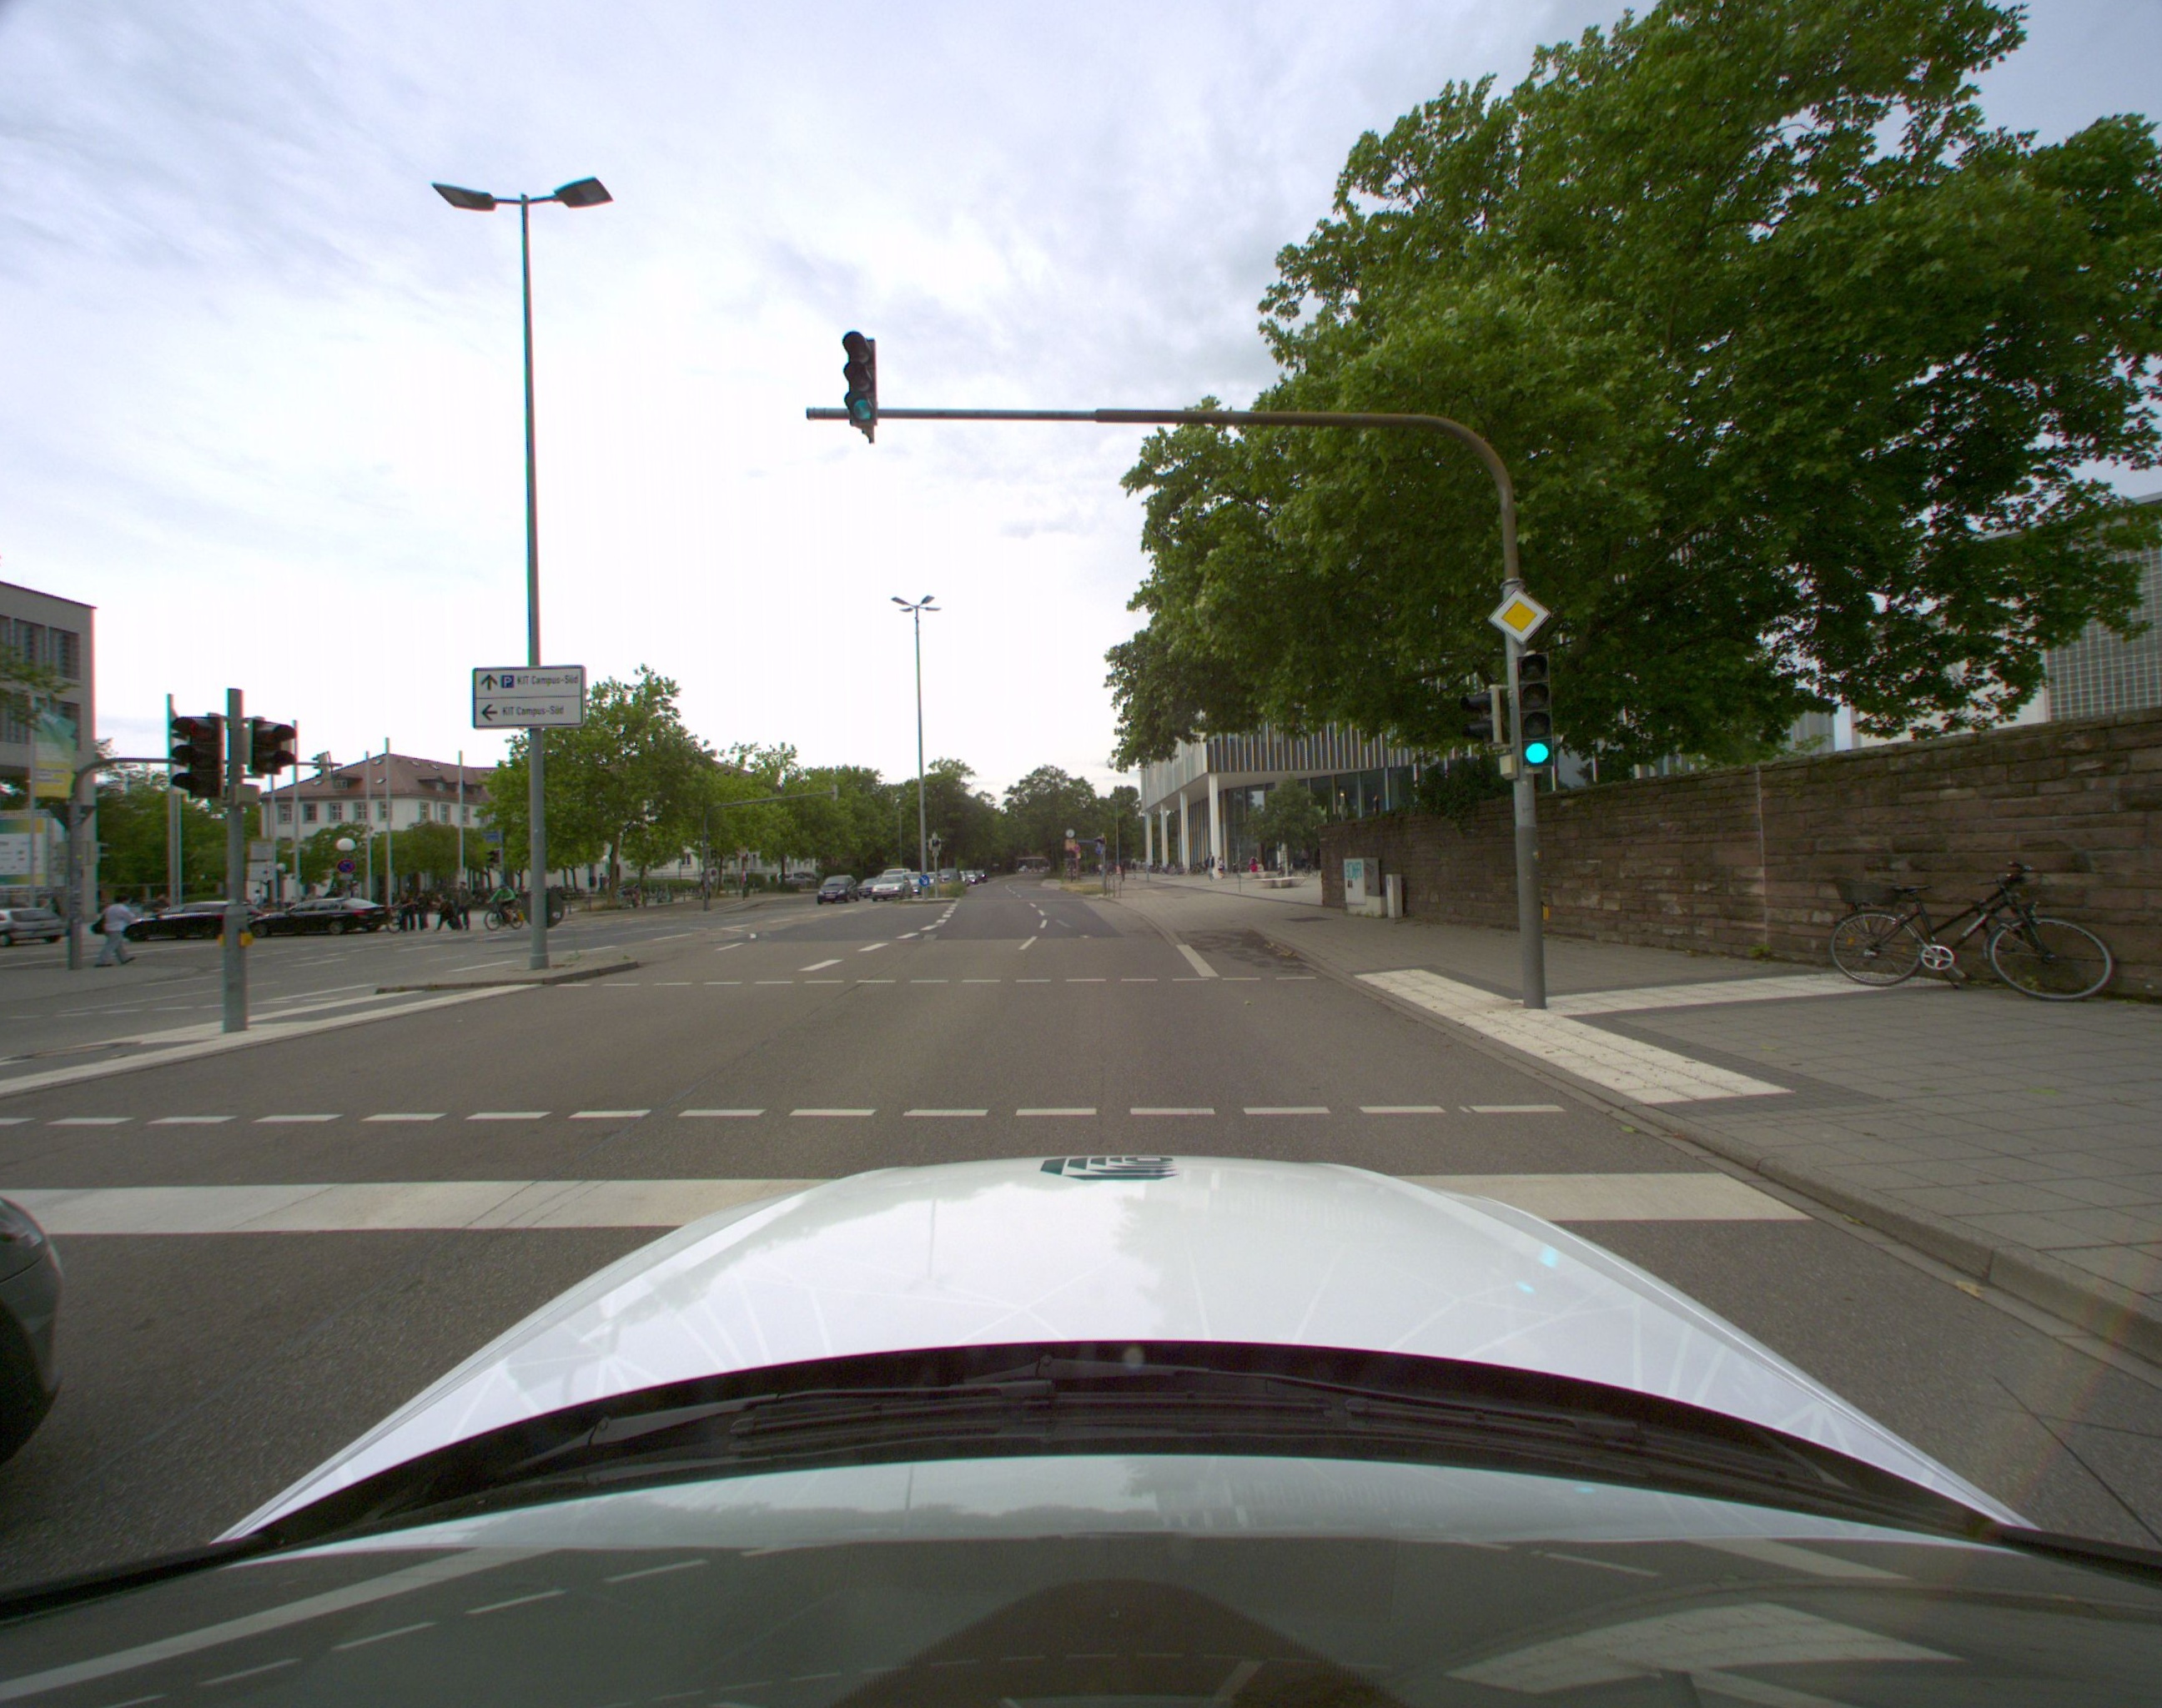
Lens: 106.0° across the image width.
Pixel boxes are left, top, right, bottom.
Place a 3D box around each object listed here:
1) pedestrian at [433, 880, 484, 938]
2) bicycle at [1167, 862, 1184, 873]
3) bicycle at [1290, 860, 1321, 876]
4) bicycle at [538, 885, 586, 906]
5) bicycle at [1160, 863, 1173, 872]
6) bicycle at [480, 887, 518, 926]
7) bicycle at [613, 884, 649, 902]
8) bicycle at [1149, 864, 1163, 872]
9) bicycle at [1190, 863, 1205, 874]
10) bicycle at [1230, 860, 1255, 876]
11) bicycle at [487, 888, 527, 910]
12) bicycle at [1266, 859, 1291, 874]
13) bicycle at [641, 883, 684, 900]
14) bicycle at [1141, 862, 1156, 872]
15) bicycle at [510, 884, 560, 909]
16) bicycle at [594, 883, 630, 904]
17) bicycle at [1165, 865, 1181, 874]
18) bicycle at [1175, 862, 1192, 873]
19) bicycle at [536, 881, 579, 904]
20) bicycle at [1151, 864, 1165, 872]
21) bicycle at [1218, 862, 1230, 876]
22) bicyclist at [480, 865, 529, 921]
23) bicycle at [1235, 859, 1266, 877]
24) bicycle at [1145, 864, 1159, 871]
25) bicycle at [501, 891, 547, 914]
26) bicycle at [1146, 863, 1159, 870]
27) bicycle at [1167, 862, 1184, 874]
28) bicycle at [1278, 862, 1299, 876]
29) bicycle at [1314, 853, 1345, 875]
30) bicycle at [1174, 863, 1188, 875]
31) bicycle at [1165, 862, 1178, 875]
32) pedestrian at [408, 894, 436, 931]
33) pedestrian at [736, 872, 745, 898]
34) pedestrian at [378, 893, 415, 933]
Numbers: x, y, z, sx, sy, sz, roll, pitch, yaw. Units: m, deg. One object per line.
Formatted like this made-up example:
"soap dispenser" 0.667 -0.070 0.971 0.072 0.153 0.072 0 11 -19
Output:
"pedestrian" -22.761 1.980 29.819 1.185 2.014 1.133 0 -1 -22
"bicycle" 9.563 1.407 82.517 1.602 0.982 0.556 -5 -1 -2
"bicycle" 15.360 0.955 55.661 2.200 1.006 0.774 -2 -1 -32
"bicycle" -37.408 2.967 58.748 2.814 1.329 0.720 -2 -1 -7
"bicycle" 9.294 1.441 88.889 1.279 0.875 0.556 -3 -1 -2
"bicycle" -21.495 1.907 30.121 0.607 1.333 2.294 0 -1 -21
"bicycle" -31.173 2.712 56.479 2.036 1.153 0.717 -2 -1 -20
"bicycle" 9.248 1.700 100.941 1.602 0.875 0.556 -3 -1 -2
"bicycle" 10.542 1.318 73.694 1.496 0.929 0.435 -3 1 -41
"bicycle" 12.160 1.027 61.267 0.727 1.115 2.196 -3 -1 45
"bicycle" -43.176 3.363 61.215 2.639 1.559 0.926 -3 -1 15
"bicycle" 14.083 0.904 58.012 1.971 1.002 0.765 -2 -1 -44
"bicycle" -31.653 2.815 61.648 2.743 1.174 0.720 -2 -1 -6
"bicycle" 8.732 1.696 105.479 1.791 1.082 0.625 -4 -1 -4
"bicycle" -38.167 2.946 56.954 2.661 1.559 0.918 -2 -1 -13
"bicycle" -37.991 3.215 65.984 2.396 1.594 0.720 -2 -1 -7
"bicycle" 9.645 1.596 85.604 1.602 0.875 0.556 -3 -1 -2
"bicycle" 10.204 1.345 81.063 1.597 0.936 0.570 -5 0 8
"bicycle" -38.328 2.842 59.693 2.447 1.559 0.918 -2 -1 -13
"bicycle" 9.466 1.668 99.761 1.602 0.875 0.556 -3 -1 -2
"bicycle" 11.134 1.142 63.366 0.636 1.061 1.841 0 -1 3
"bicyclist" -21.268 1.420 30.084 1.185 2.014 1.272 0 -1 -22
"bicycle" 12.471 0.999 59.879 2.736 1.188 0.765 -2 -1 -44
"bicycle" 8.898 1.700 102.455 1.602 0.875 0.556 -3 -1 -2
"bicycle" -37.047 3.219 54.184 2.481 1.354 0.720 -2 -1 -7
"bicycle" 9.147 1.624 104.356 1.604 0.875 0.555 -2 -1 -6
"bicycle" 9.800 1.466 84.110 1.636 1.091 0.573 -5 -1 6
"bicycle" 14.580 1.062 57.221 0.663 0.899 1.857 -3 -1 39
"bicycle" 16.651 0.667 54.523 2.011 1.306 0.640 -4 1 -24
"bicycle" 9.259 1.400 75.552 0.608 1.080 1.953 -4 0 -13
"bicycle" 8.715 1.380 78.324 0.635 1.140 2.196 -5 -1 -6
"pedestrian" -26.278 2.318 32.479 0.702 1.428 0.991 0 -1 -30
"pedestrian" -23.038 2.092 55.084 0.419 1.739 0.433 0 -1 -9
"pedestrian" -27.087 2.319 32.252 0.825 1.513 0.968 0 -1 -22
